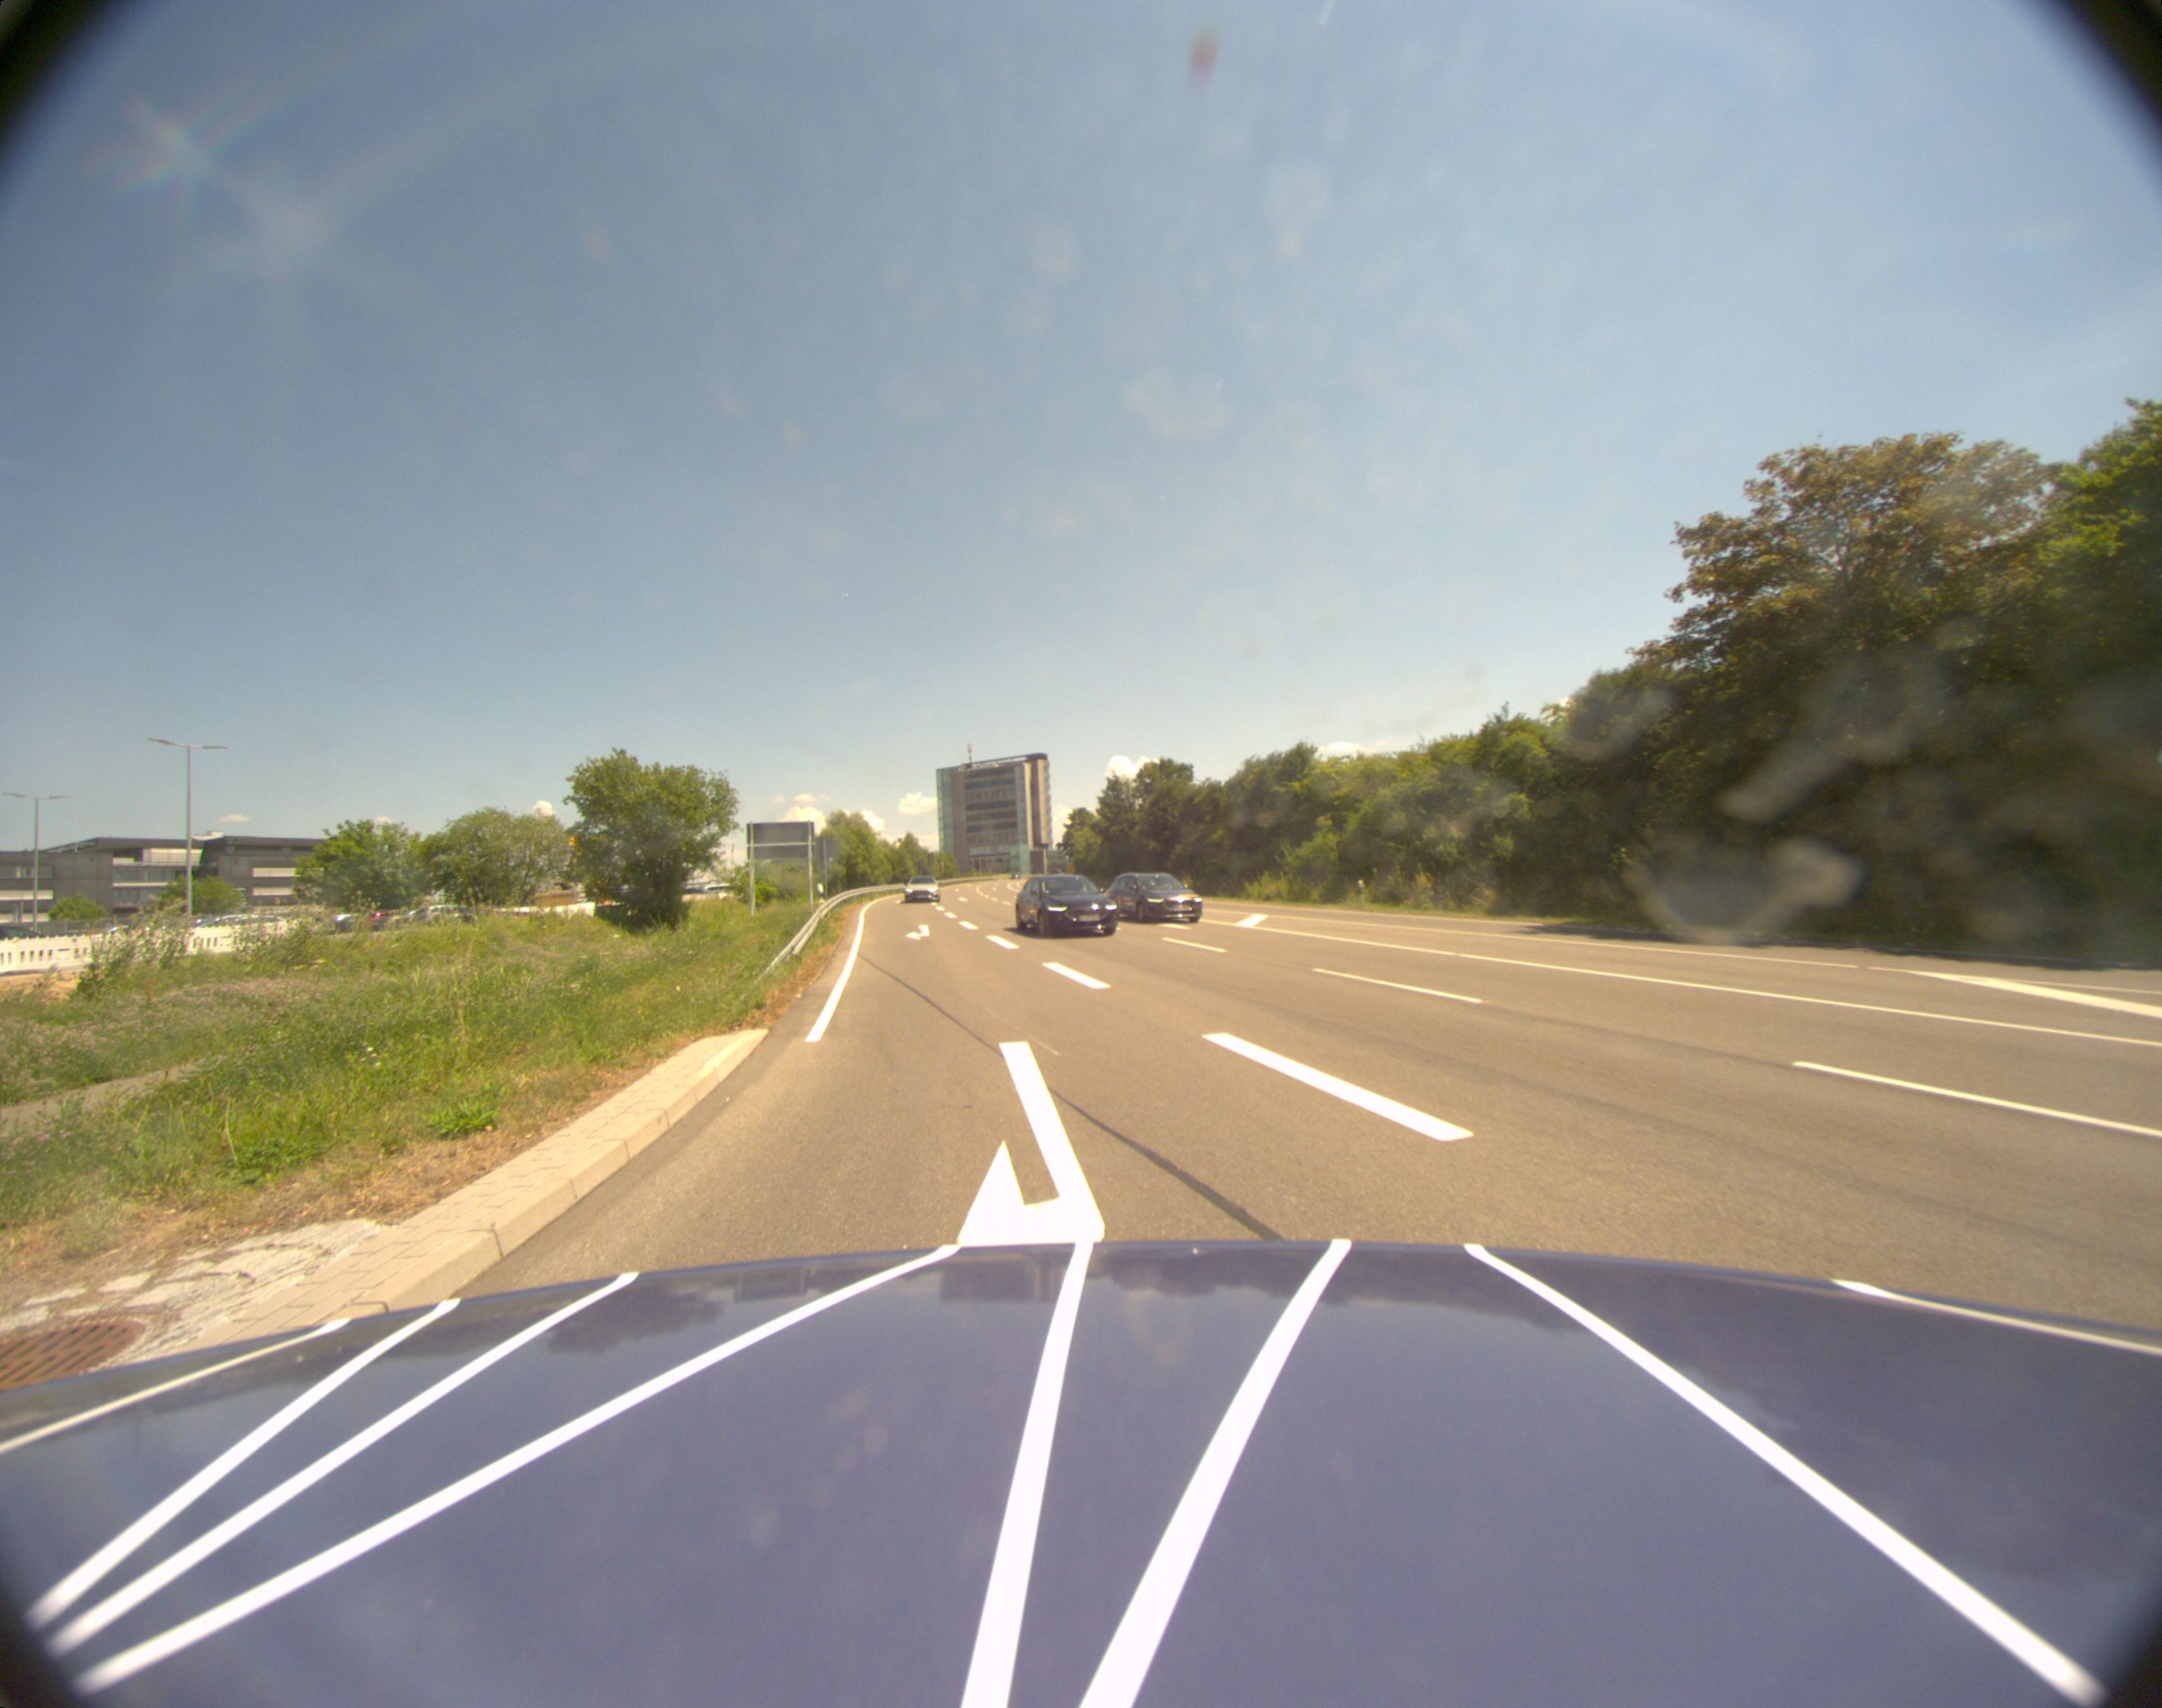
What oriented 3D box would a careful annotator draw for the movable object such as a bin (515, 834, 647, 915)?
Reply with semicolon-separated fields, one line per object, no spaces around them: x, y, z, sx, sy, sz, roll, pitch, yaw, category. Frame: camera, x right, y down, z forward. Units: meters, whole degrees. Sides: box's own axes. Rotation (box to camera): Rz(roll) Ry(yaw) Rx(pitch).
-27.515;1.042;42.395;2.988;4.021;8.098;-1;0;-9;movable object such as a bin

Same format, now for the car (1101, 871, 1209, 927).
2.136;1.299;23.290;1.741;1.433;4.386;-1;0;-17;car

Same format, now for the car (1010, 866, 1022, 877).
-12.706;3.402;148.399;2.000;2.002;3.996;-1;0;-9;car

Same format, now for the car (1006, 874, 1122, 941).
-0.571;1.269;19.209;1.741;1.433;4.293;-1;-2;-18;car

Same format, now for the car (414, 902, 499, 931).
-42.299;4.206;51.574;1.996;1.630;4.004;-1;0;14;car

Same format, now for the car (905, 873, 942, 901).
-8.778;1.862;42.532;1.923;1.433;4.480;0;-3;-11;car
